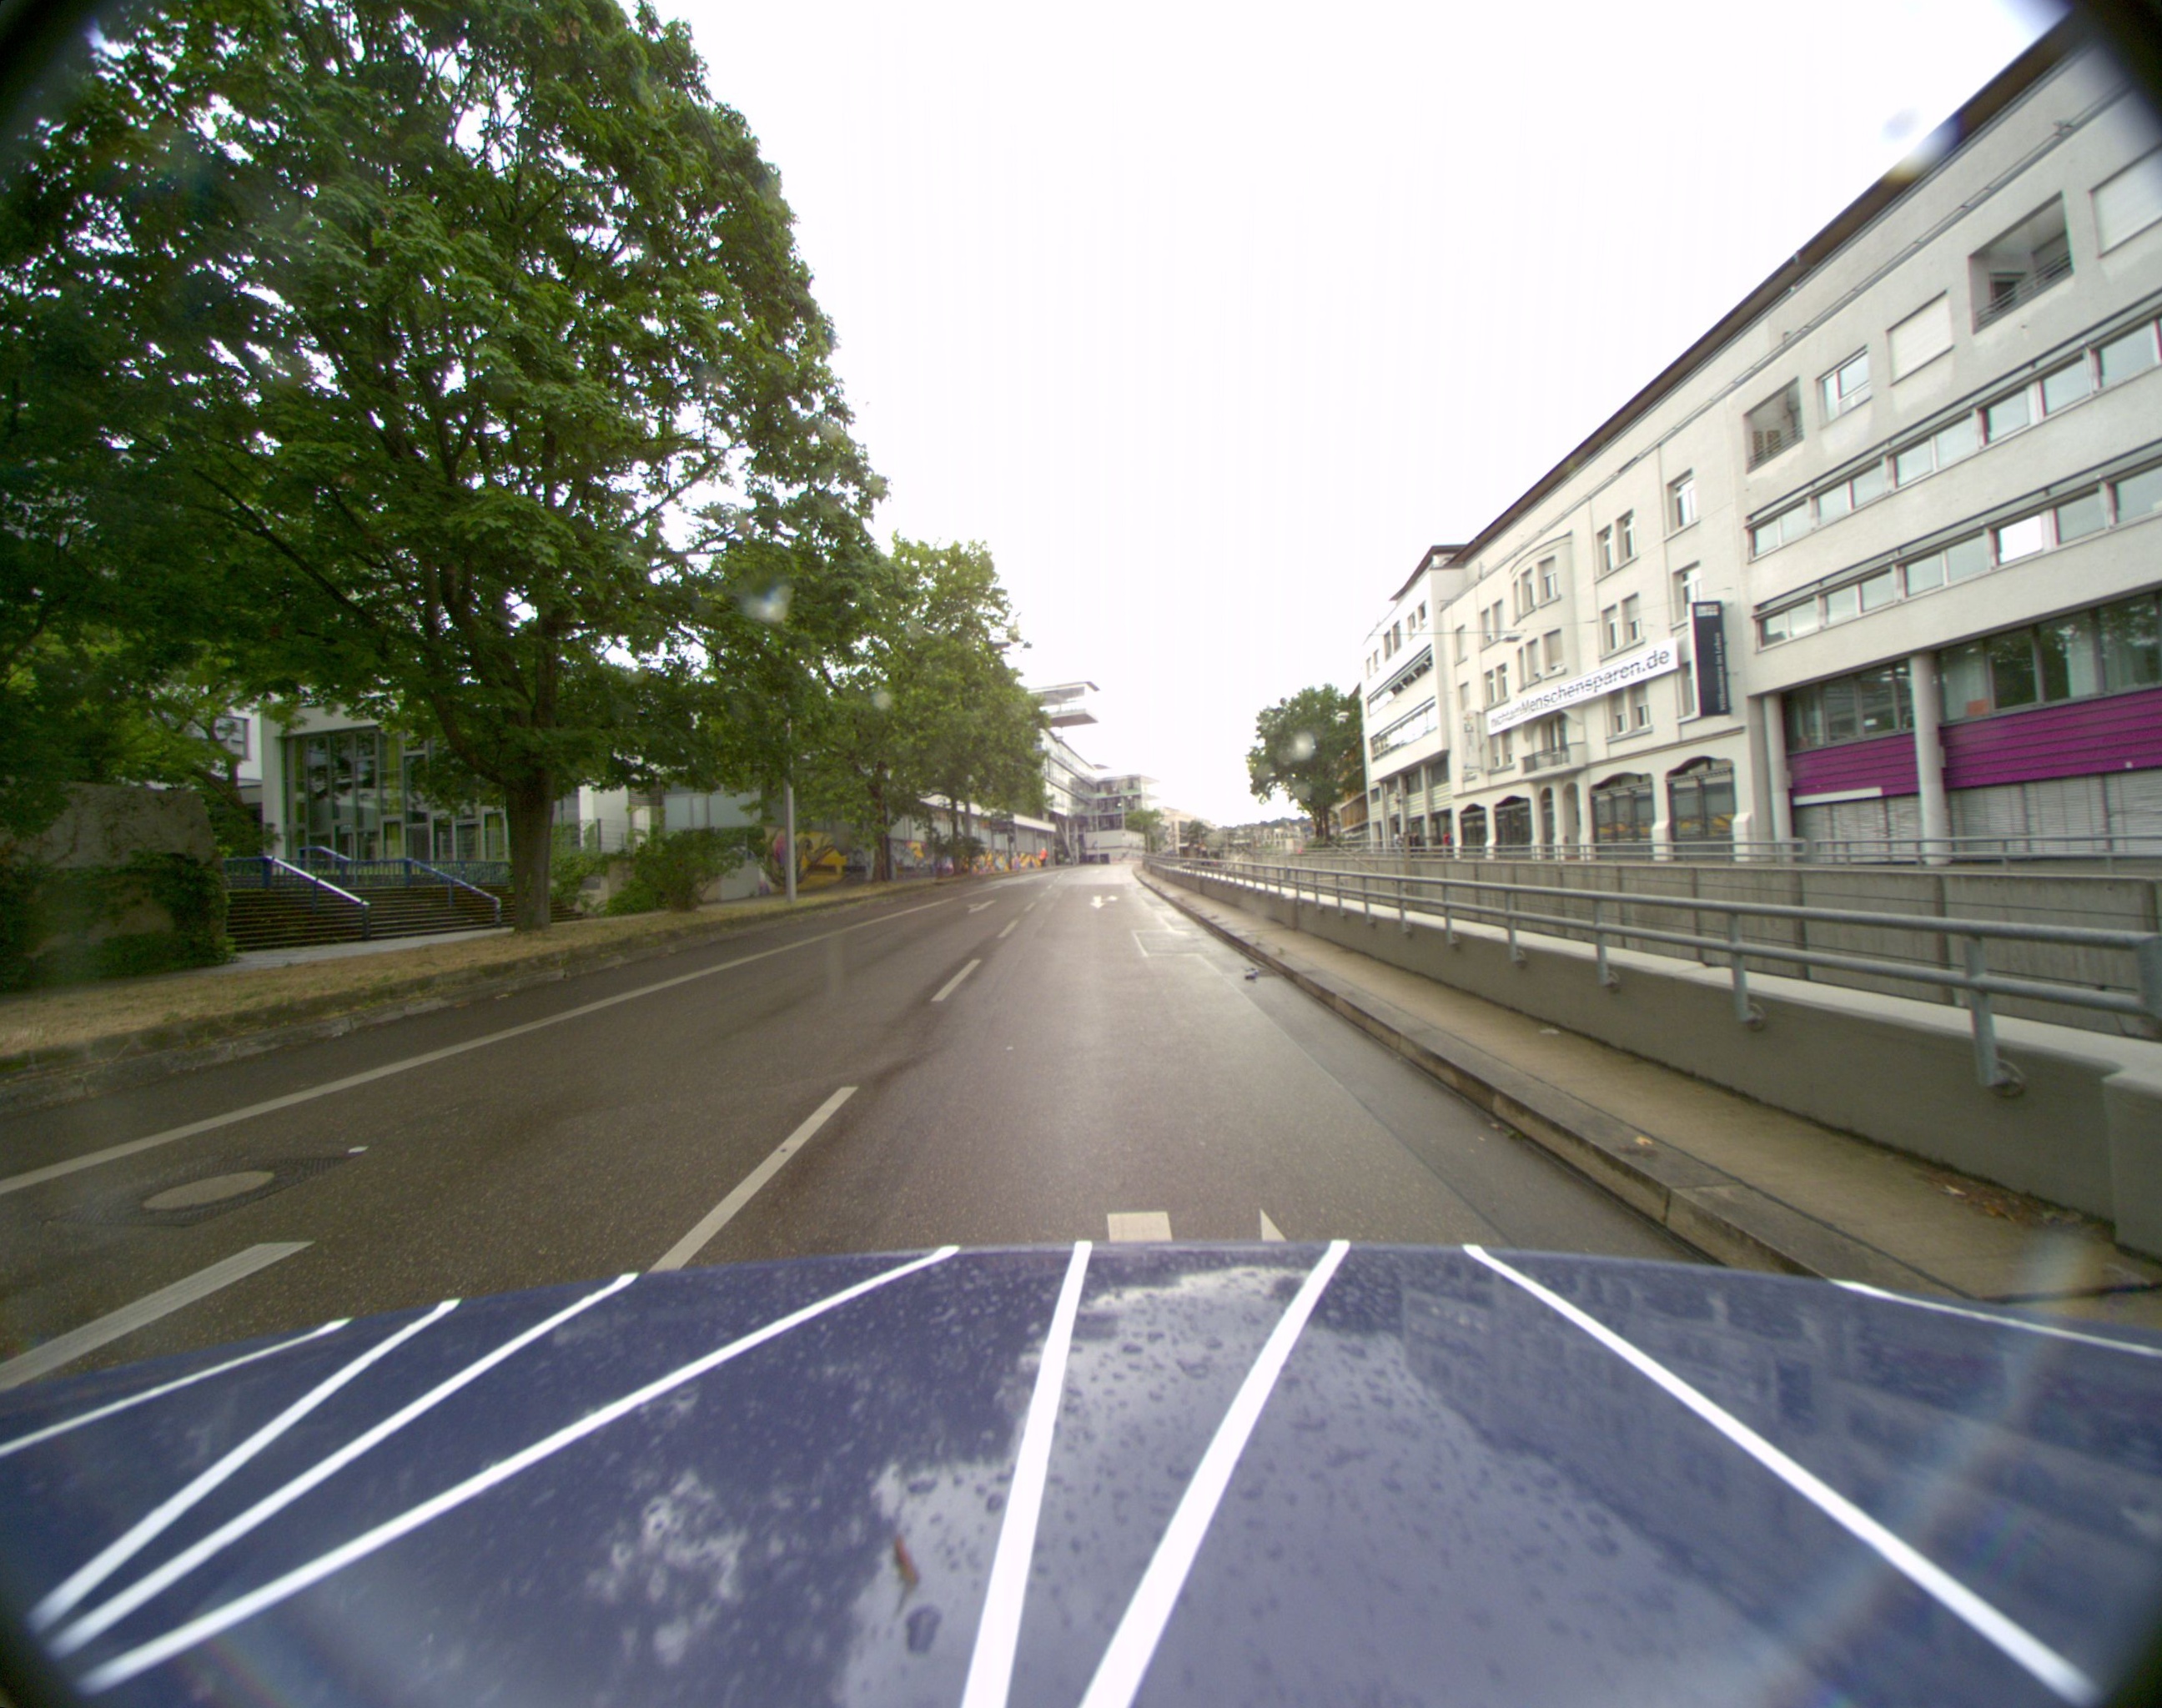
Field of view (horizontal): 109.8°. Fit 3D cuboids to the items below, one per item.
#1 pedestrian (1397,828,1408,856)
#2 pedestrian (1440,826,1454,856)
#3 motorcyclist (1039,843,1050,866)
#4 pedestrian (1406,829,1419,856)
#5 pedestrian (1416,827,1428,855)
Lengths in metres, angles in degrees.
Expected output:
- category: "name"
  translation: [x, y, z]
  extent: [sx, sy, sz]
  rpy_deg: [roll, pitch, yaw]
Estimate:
- category: "pedestrian"
  translation: [21.676, -0.808, 51.277]
  extent: [0.469, 1.792, 0.548]
  rpy_deg: [-4, 1, 8]
- category: "pedestrian"
  translation: [22.830, -0.803, 47.375]
  extent: [0.470, 1.792, 0.547]
  rpy_deg: [-4, 1, 0]
- category: "motorcyclist"
  translation: [-3.330, 0.040, 69.347]
  extent: [0.754, 2.002, 1.002]
  rpy_deg: [-4, 1, 9]
- category: "pedestrian"
  translation: [22.486, -0.784, 51.577]
  extent: [0.547, 1.792, 0.470]
  rpy_deg: [-4, 1, -7]
- category: "pedestrian"
  translation: [22.577, -0.859, 50.315]
  extent: [0.470, 1.792, 0.547]
  rpy_deg: [-4, 1, 3]
